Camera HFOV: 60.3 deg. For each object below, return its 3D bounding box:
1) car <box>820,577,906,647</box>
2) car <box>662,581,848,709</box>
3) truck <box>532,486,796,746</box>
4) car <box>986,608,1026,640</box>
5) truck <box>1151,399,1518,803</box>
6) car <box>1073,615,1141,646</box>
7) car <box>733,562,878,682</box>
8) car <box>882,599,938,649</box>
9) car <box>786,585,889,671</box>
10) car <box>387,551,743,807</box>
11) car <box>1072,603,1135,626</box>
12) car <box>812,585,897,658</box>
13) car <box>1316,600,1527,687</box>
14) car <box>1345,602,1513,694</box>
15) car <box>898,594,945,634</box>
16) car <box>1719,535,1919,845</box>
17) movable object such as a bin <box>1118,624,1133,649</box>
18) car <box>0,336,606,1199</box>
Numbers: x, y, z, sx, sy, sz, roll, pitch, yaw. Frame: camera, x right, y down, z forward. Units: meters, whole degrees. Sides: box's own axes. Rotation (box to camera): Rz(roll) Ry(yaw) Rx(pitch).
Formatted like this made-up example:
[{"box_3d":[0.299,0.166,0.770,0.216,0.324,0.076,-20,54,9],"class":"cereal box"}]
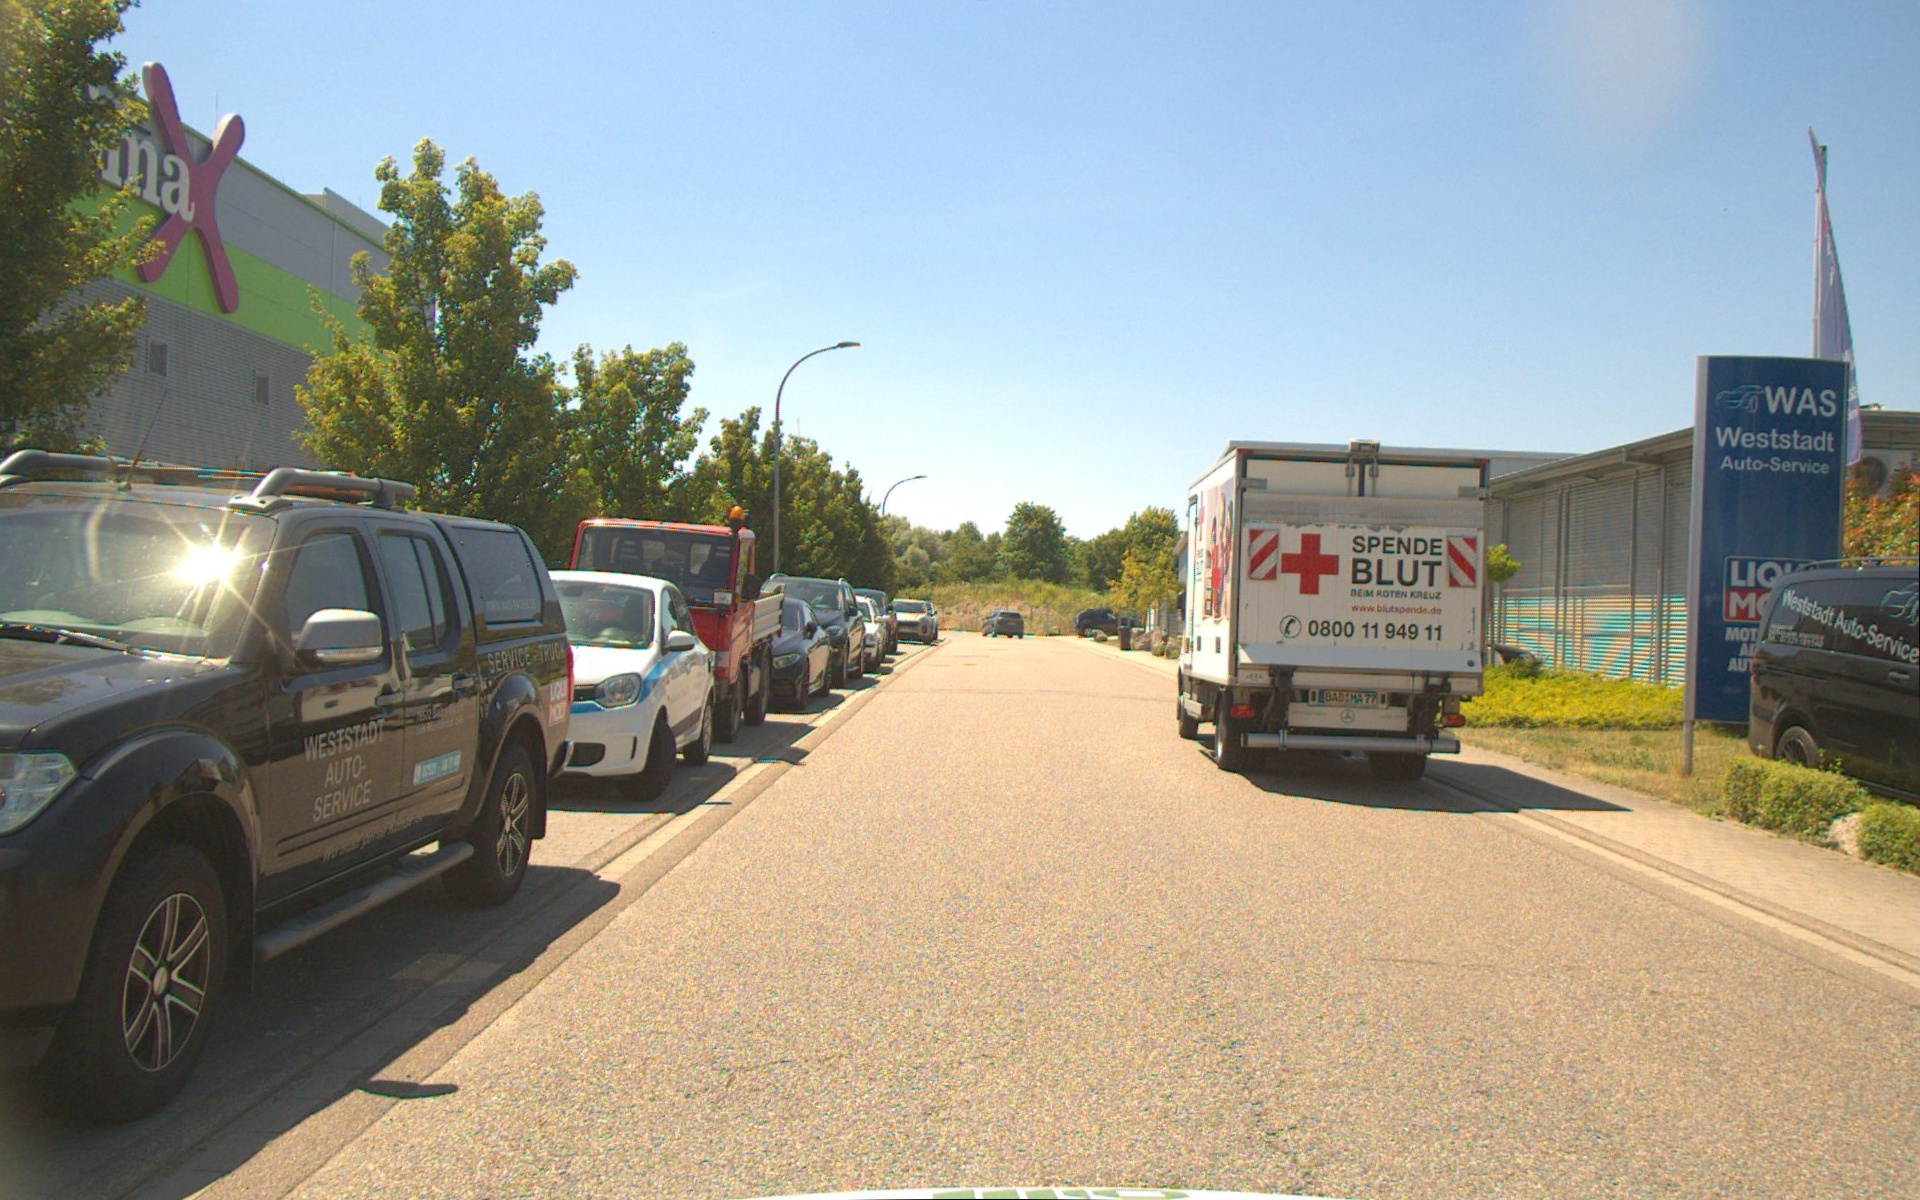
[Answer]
[{"box_3d":[-2.684,0.334,46.865,1.950,1.743,5.007,4,0,1],"class":"car"},{"box_3d":[-2.682,0.557,22.711,1.813,1.468,4.754,4,0,1],"class":"car"},{"box_3d":[-2.939,0.148,17.458,1.814,2.261,4.646,4,0,0],"class":"truck"},{"box_3d":[2.656,1.382,96.604,1.875,1.743,4.027,2,0,-4],"class":"car"},{"box_3d":[3.512,0.005,17.210,2.406,3.261,6.884,2,0,2],"class":"truck"},{"box_3d":[8.895,1.821,100.353,3.928,1.684,1.858,-2,0,0],"class":"car"},{"box_3d":[-2.570,0.355,28.749,1.813,1.789,4.988,4,0,2],"class":"car"},{"box_3d":[-1.870,0.890,63.068,1.873,1.743,4.413,4,0,0],"class":"car"},{"box_3d":[-2.466,0.541,34.285,1.814,1.545,4.903,4,0,-2],"class":"car"},{"box_3d":[-2.850,0.523,12.790,1.814,1.577,3.766,4,0,-1],"class":"car"},{"box_3d":[9.327,0.947,107.567,3.928,1.487,1.892,0,0,0],"class":"car"},{"box_3d":[-2.497,0.497,40.256,1.814,1.545,5.165,4,0,-2],"class":"car"},{"box_3d":[8.938,0.818,32.277,3.615,1.568,1.913,1,0,2],"class":"car"},{"box_3d":[8.421,0.843,29.834,2.650,1.568,1.413,1,0,2],"class":"car"},{"box_3d":[-1.705,0.595,74.762,1.873,1.684,4.755,2,0,1],"class":"car"},{"box_3d":[7.344,0.620,11.291,1.952,2.049,5.337,2,0,1],"class":"car"},{"box_3d":[6.547,1.429,65.503,0.547,0.963,0.539,1,-1,-1],"class":"movable object such as a bin"},{"box_3d":[-2.969,0.349,6.223,1.933,1.933,5.402,4,0,1],"class":"car"}]
